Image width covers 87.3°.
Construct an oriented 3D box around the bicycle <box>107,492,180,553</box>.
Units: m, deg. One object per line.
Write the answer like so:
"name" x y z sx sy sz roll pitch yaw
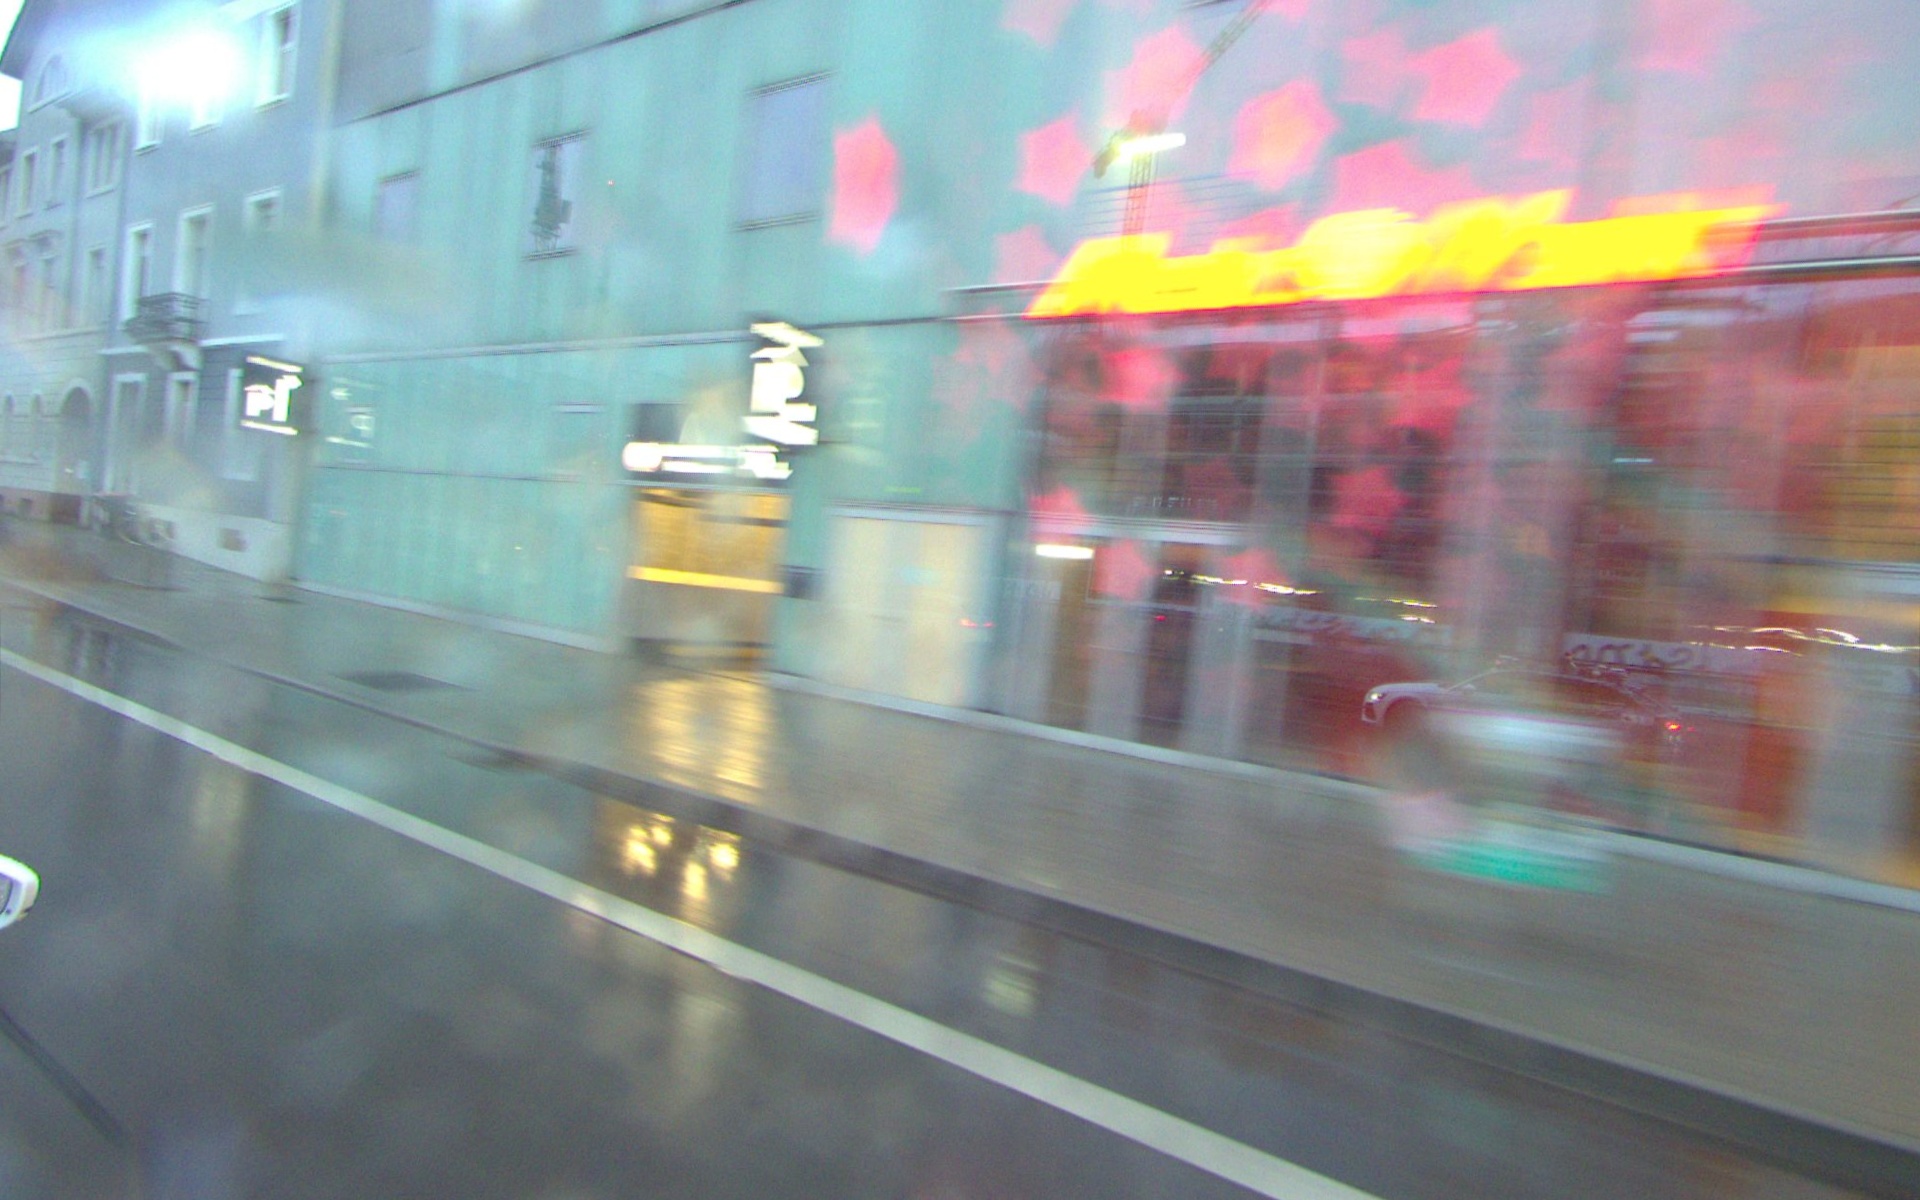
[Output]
"bicycle" -18.605 -1.771 22.920 1.874 1.239 0.682 7 3 32
